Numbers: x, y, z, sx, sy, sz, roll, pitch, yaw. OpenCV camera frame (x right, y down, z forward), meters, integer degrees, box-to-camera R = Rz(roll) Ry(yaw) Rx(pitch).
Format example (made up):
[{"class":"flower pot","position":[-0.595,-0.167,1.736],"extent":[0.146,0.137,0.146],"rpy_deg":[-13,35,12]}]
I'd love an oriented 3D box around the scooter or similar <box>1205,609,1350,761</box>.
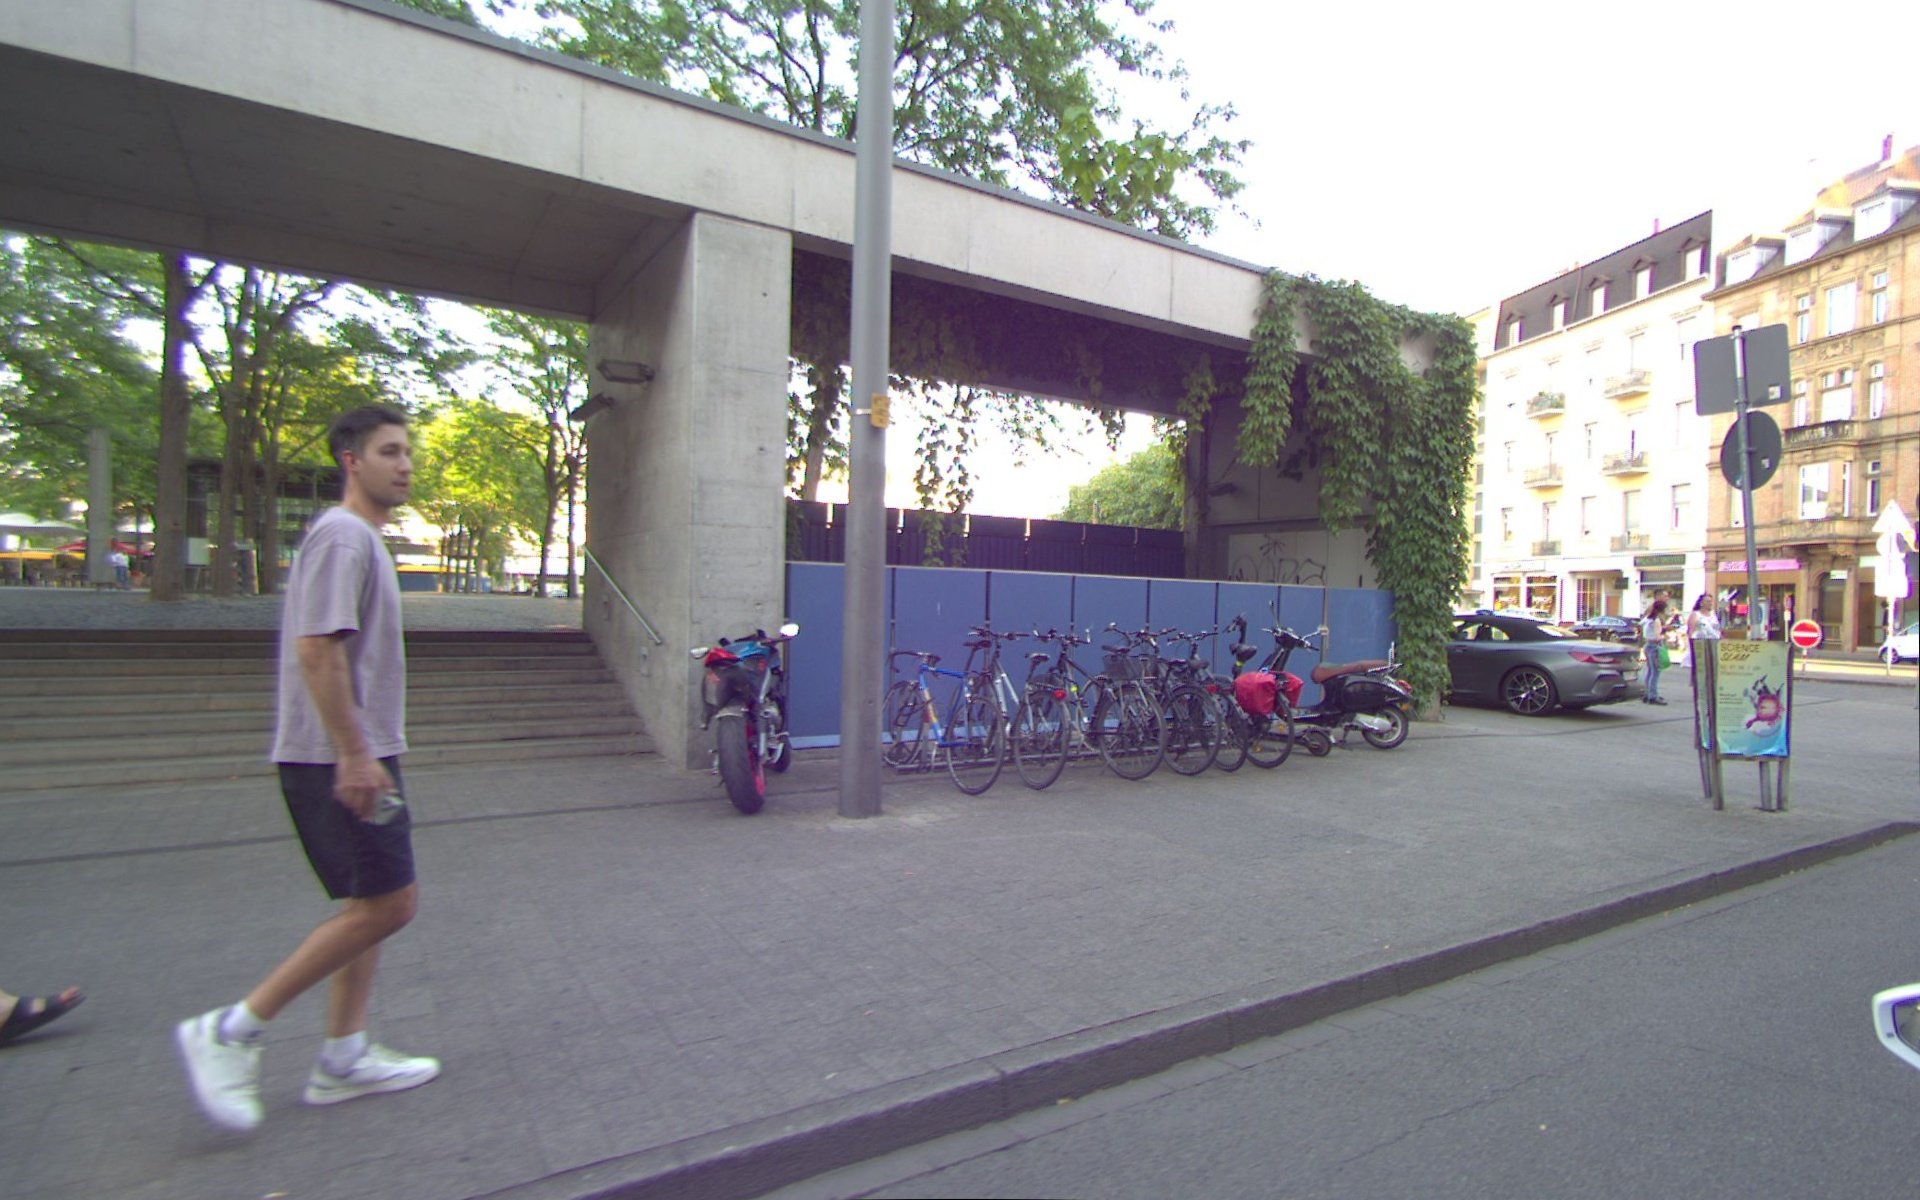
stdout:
[{"class":"scooter or similar","position":[2.956,0.755,9.411],"extent":[1.191,1.291,0.419],"rpy_deg":[4,2,43]}]

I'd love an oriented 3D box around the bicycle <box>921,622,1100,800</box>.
[{"class":"bicycle","position":[0.334,0.786,7.805],"extent":[0.494,1.122,1.786],"rpy_deg":[1,2,-29]}]

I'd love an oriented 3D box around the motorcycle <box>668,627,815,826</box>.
[{"class":"motorcycle","position":[-1.417,0.778,6.828],"extent":[0.750,1.078,1.804],"rpy_deg":[2,1,-6]}]

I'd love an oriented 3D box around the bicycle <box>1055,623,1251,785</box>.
[{"class":"bicycle","position":[1.578,0.815,8.524],"extent":[0.495,1.122,1.783],"rpy_deg":[1,2,-34]}]

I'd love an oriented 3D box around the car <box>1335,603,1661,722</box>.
[{"class":"car","position":[8.001,0.825,15.231],"extent":[1.875,1.521,3.954],"rpy_deg":[1,0,-39]}]

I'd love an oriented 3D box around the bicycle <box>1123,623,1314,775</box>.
[{"class":"bicycle","position":[2.255,0.822,9.010],"extent":[0.494,1.122,1.784],"rpy_deg":[1,2,-31]}]

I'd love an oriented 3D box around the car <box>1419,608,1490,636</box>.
[{"class":"car","position":[29.063,1.280,59.208],"extent":[1.767,1.530,3.994],"rpy_deg":[2,0,-9]}]

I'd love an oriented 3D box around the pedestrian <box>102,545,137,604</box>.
[{"class":"pedestrian","position":[-34.003,-1.026,40.646],"extent":[0.726,2.362,0.815],"rpy_deg":[1,0,-9]}]

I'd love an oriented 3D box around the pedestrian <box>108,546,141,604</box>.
[{"class":"pedestrian","position":[-34.475,-1.030,41.466],"extent":[0.726,2.362,0.815],"rpy_deg":[1,0,-10]}]

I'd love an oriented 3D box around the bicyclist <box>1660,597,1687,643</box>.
[{"class":"bicyclist","position":[28.238,0.796,39.750],"extent":[0.517,1.780,0.617],"rpy_deg":[1,1,-16]}]

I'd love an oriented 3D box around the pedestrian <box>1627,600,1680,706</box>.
[{"class":"pedestrian","position":[11.098,0.831,16.078],"extent":[0.514,1.665,0.498],"rpy_deg":[1,0,-30]}]

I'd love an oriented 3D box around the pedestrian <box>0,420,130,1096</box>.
[{"class":"pedestrian","position":[-3.061,0.414,2.841],"extent":[0.998,1.837,0.737],"rpy_deg":[1,3,-32]}]

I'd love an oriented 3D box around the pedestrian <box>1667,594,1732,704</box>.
[{"class":"pedestrian","position":[12.249,0.788,16.656],"extent":[0.644,1.769,0.674],"rpy_deg":[1,0,17]}]

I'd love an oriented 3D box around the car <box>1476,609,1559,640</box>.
[{"class":"car","position":[29.682,1.269,53.574],"extent":[1.767,1.530,3.994],"rpy_deg":[2,0,-9]}]

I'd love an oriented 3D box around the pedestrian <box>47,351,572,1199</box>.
[{"class":"pedestrian","position":[-1.679,0.431,2.722],"extent":[1.038,1.919,0.740],"rpy_deg":[1,2,-31]}]

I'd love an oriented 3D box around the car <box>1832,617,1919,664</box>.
[{"class":"car","position":[32.786,1.414,34.565],"extent":[1.767,1.530,3.994],"rpy_deg":[2,0,-9]}]

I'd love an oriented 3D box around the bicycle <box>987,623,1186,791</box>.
[{"class":"bicycle","position":[0.970,0.800,8.184],"extent":[0.495,1.122,1.781],"rpy_deg":[1,2,-36]}]

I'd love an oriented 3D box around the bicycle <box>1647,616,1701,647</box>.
[{"class":"bicycle","position":[28.239,1.251,39.751],"extent":[0.529,1.122,1.794],"rpy_deg":[1,1,-16]}]

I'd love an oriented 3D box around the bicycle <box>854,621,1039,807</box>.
[{"class":"bicycle","position":[-0.160,0.769,7.486],"extent":[0.494,1.122,1.784],"rpy_deg":[1,2,-32]}]

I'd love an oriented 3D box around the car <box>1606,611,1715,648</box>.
[{"class":"car","position":[31.691,1.301,45.599],"extent":[1.767,1.530,3.994],"rpy_deg":[2,0,-9]}]

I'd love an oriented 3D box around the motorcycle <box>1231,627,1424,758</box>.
[{"class":"motorcycle","position":[3.639,0.878,9.994],"extent":[1.718,1.116,0.566],"rpy_deg":[3,2,25]}]

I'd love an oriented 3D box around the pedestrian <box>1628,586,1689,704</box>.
[{"class":"pedestrian","position":[11.589,0.728,16.679],"extent":[0.625,1.907,0.581],"rpy_deg":[1,0,-26]}]
